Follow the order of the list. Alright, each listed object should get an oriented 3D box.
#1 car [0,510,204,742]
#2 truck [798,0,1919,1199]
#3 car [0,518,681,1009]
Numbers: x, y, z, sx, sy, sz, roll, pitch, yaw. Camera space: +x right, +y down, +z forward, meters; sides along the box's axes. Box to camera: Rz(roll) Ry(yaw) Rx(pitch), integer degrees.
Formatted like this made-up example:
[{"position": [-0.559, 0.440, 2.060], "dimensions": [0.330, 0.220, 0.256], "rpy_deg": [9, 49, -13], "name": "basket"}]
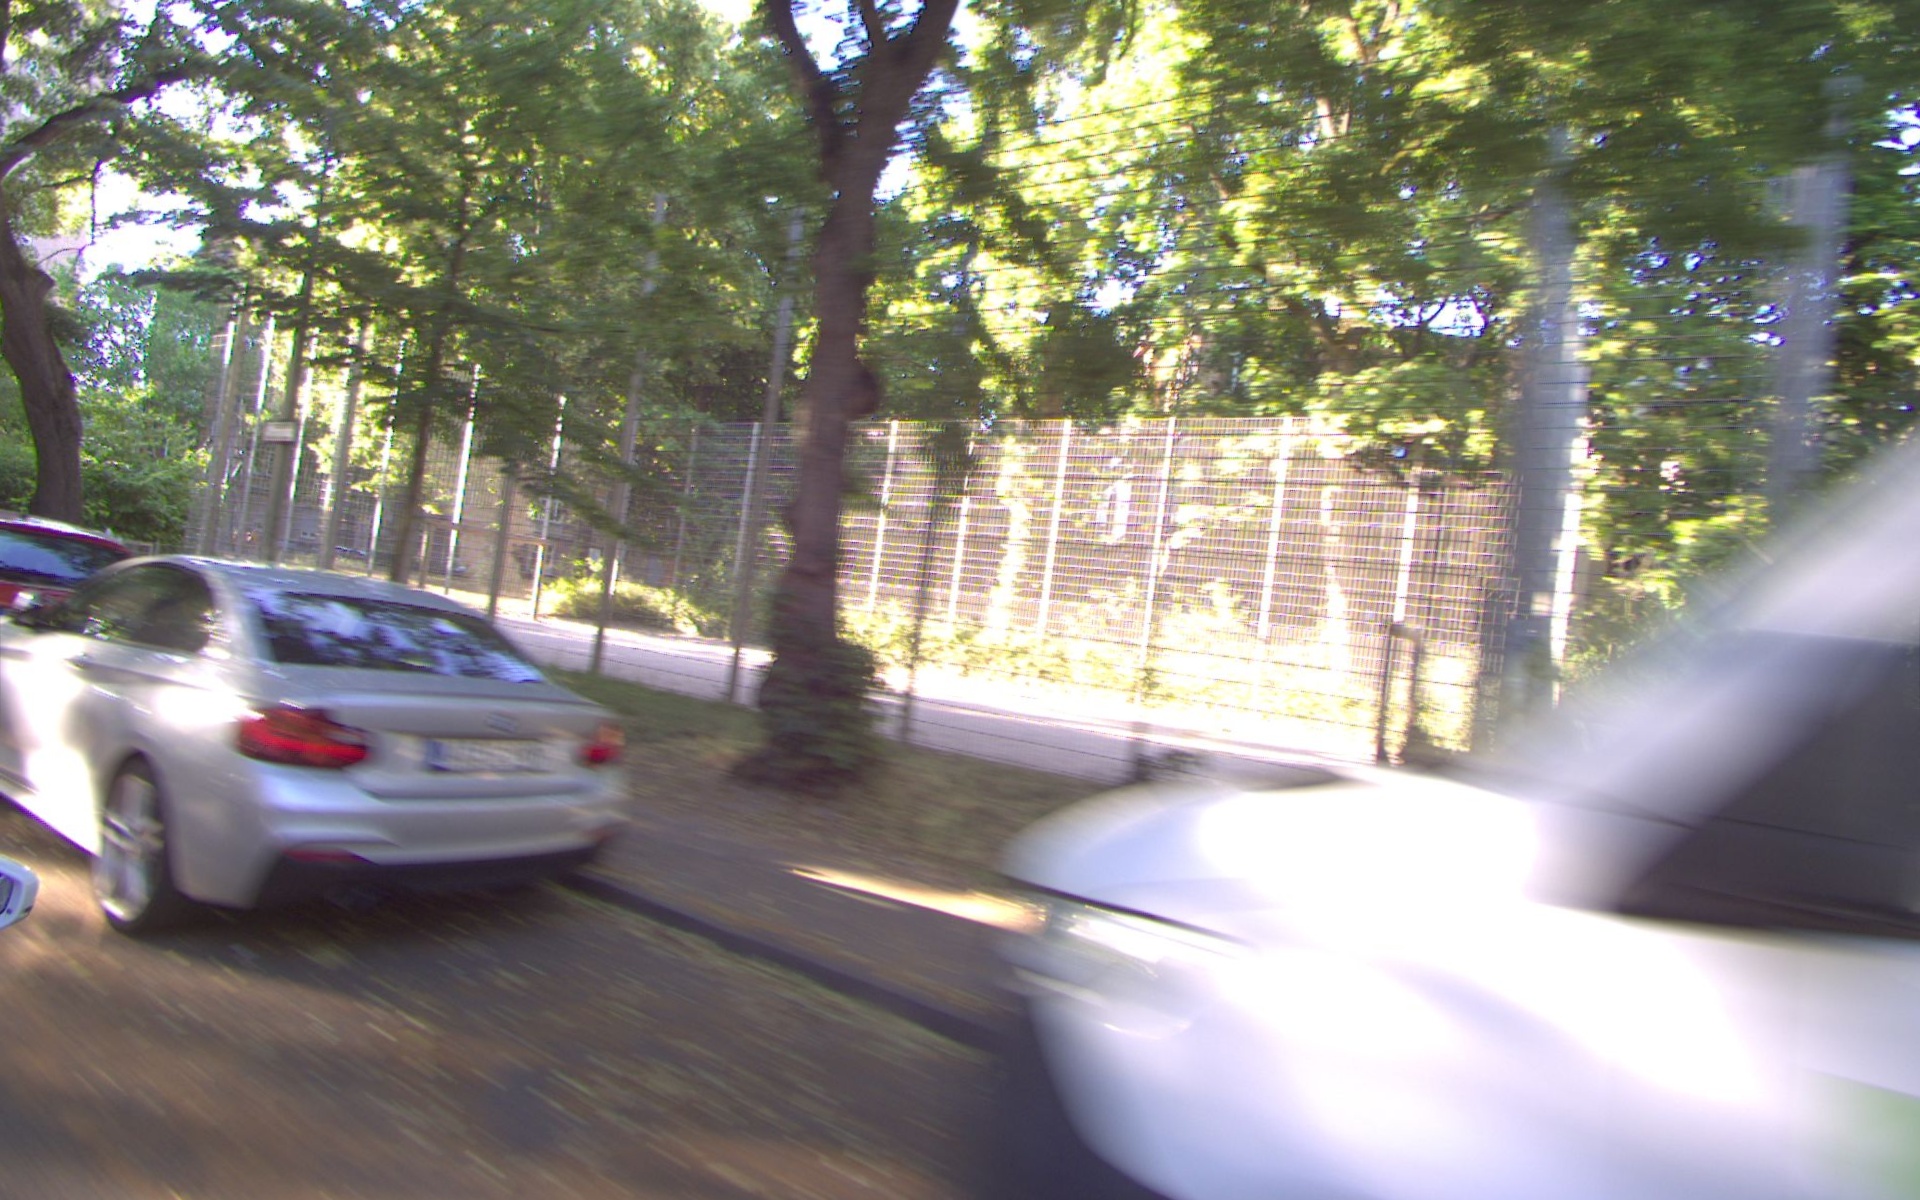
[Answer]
[{"position": [-7.613, 0.017, 7.593], "dimensions": [3.885, 1.470, 1.675], "rpy_deg": [6, -2, 33], "name": "car"}, {"position": [3.279, 0.733, 0.915], "dimensions": [6.819, 2.413, 2.301], "rpy_deg": [6, -2, 32], "name": "truck"}, {"position": [-3.568, 0.480, 5.018], "dimensions": [4.229, 1.413, 1.675], "rpy_deg": [6, -2, 33], "name": "car"}]
